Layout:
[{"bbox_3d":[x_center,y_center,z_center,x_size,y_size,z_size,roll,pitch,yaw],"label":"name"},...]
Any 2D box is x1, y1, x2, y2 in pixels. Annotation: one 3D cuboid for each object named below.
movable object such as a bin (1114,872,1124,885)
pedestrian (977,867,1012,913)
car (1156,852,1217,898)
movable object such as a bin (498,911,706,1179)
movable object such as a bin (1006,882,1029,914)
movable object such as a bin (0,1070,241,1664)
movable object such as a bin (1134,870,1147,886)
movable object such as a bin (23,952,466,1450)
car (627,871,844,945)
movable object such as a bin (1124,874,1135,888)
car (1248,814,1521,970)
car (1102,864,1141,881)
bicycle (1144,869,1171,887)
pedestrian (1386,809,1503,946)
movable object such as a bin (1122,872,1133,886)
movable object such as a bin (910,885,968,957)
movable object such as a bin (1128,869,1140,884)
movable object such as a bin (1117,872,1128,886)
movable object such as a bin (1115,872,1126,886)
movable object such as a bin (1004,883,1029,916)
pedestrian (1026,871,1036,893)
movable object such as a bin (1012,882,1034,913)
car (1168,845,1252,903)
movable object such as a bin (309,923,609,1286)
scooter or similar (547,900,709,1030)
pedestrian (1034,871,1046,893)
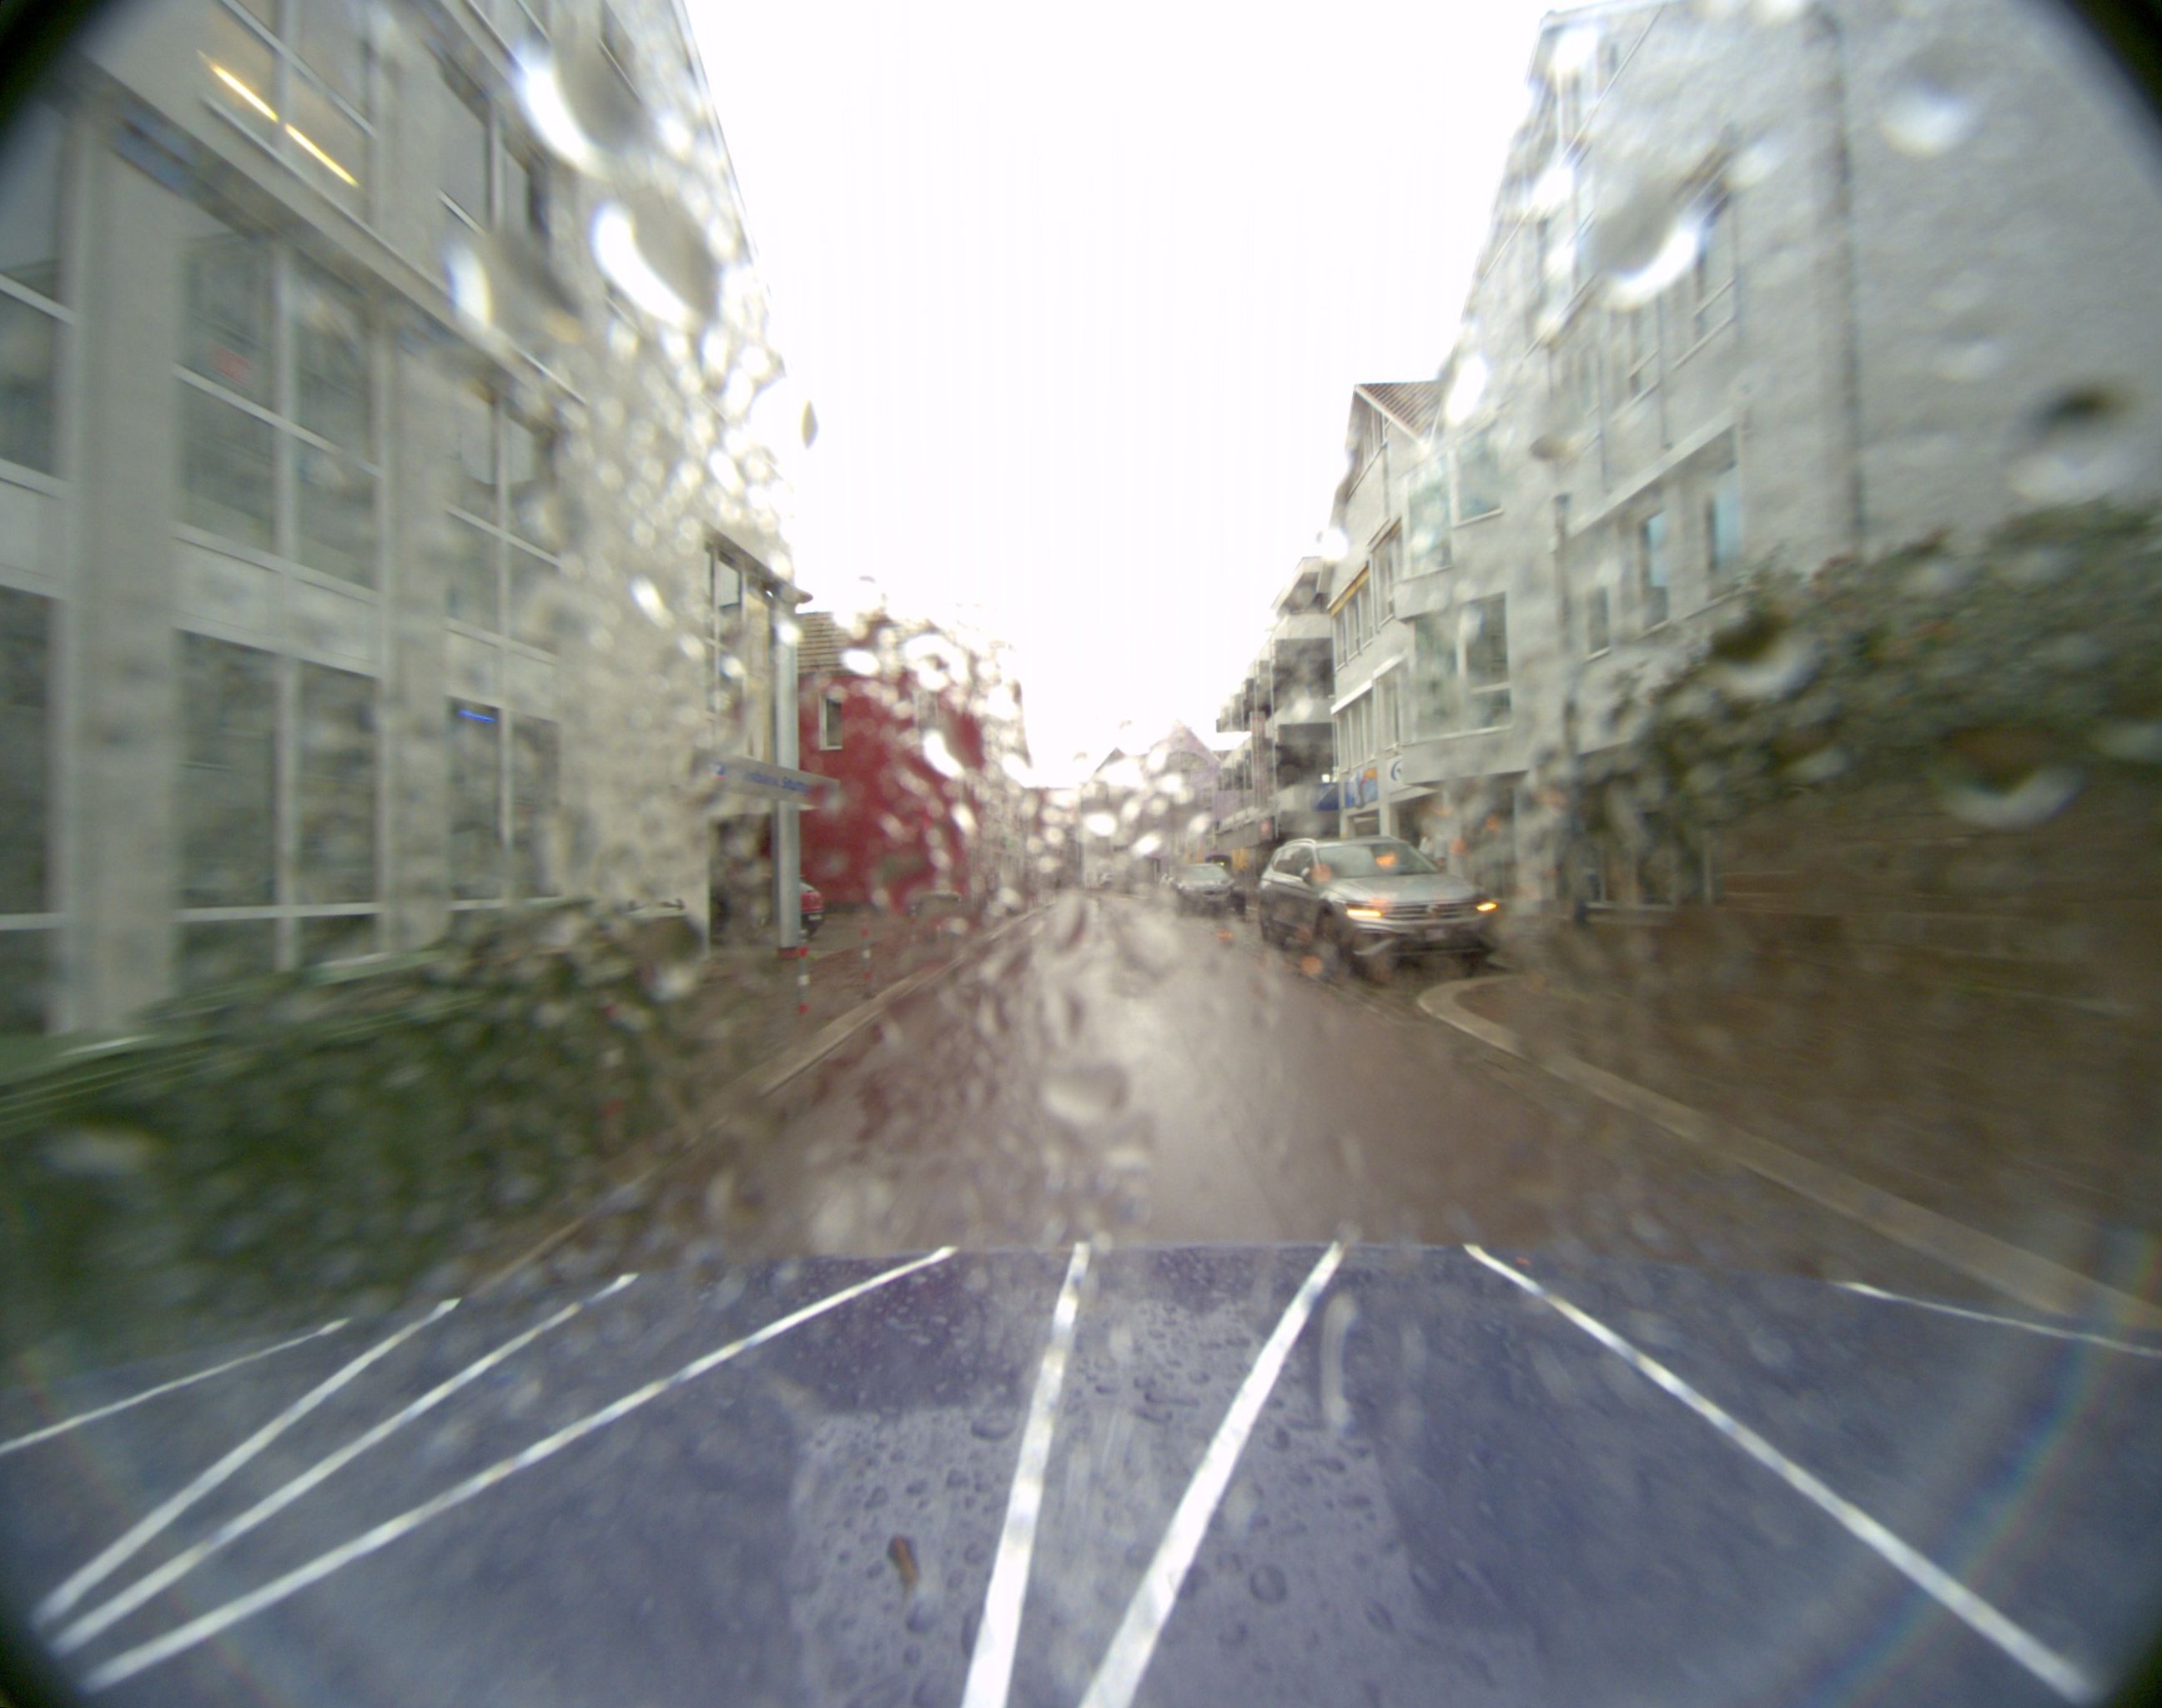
[{"bbox_3d":[3.196,2.111,64.509,0.688,1.071,0.677,-3,-1,-8],"label":"movable object such as a bin"},{"bbox_3d":[-3.243,1.329,28.602,1.180,1.687,1.177,-1,-1,-2],"label":"pedestrian"},{"bbox_3d":[4.029,0.801,29.634,1.796,1.541,4.001,-3,-1,0],"label":"car"},{"bbox_3d":[-2.558,0.991,4.124,0.639,1.283,0.632,-3,1,6],"label":"movable object such as a bin"},{"bbox_3d":[-2.277,1.590,27.399,0.712,1.088,0.614,-3,0,2],"label":"movable object such as a bin"},{"bbox_3d":[-2.579,1.142,1.708,0.617,1.125,0.632,-3,1,6],"label":"movable object such as a bin"},{"bbox_3d":[4.040,1.639,51.460,0.689,1.014,0.631,-3,-1,-17],"label":"movable object such as a bin"},{"bbox_3d":[-2.576,1.005,2.418,0.639,1.283,0.632,-3,1,6],"label":"movable object such as a bin"},{"bbox_3d":[-7.580,1.170,16.824,3.993,1.505,1.914,-1,-2,11],"label":"car"},{"bbox_3d":[3.840,2.145,59.820,0.688,1.067,0.669,-3,-1,-8],"label":"movable object such as a bin"},{"bbox_3d":[3.683,0.382,10.202,1.784,1.559,4.407,-3,1,-1],"label":"car"},{"bbox_3d":[4.363,1.928,81.347,3.993,1.574,1.834,-3,1,8],"label":"car"},{"bbox_3d":[5.268,1.636,52.211,1.753,1.158,0.443,-3,1,-19],"label":"bicycle"},{"bbox_3d":[5.120,0.325,10.791,1.038,1.795,1.116,-3,-1,1],"label":"pedestrian"},{"bbox_3d":[3.706,2.005,61.029,0.688,1.099,0.669,-3,-1,-8],"label":"movable object such as a bin"},{"bbox_3d":[-2.435,1.136,13.122,0.806,1.124,0.862,-3,1,-1],"label":"movable object such as a bin"},{"bbox_3d":[4.039,1.735,57.977,0.688,1.070,0.669,-3,-1,-8],"label":"movable object such as a bin"},{"bbox_3d":[3.427,2.063,62.860,0.688,1.074,0.669,-3,-1,-8],"label":"movable object such as a bin"},{"bbox_3d":[3.301,2.089,63.767,0.688,1.080,0.712,-3,-1,-8],"label":"movable object such as a bin"},{"bbox_3d":[-2.265,1.583,26.650,0.731,1.075,0.646,-3,0,2],"label":"movable object such as a bin"},{"bbox_3d":[-4.454,2.505,67.906,0.656,1.891,0.658,0,0,-25],"label":"pedestrian"},{"bbox_3d":[-2.128,1.607,28.106,0.678,1.078,0.698,-3,0,2],"label":"movable object such as a bin"},{"bbox_3d":[3.748,0.586,22.903,1.835,1.489,4.765,-2,-1,2],"label":"car"},{"bbox_3d":[-2.514,0.968,3.144,0.639,1.283,0.632,-3,1,6],"label":"movable object such as a bin"},{"bbox_3d":[-4.760,1.130,8.106,0.666,1.139,1.446,-3,1,8],"label":"scooter or similar"},{"bbox_3d":[-3.685,2.484,68.040,0.775,1.893,0.804,-3,1,-25],"label":"pedestrian"}]
